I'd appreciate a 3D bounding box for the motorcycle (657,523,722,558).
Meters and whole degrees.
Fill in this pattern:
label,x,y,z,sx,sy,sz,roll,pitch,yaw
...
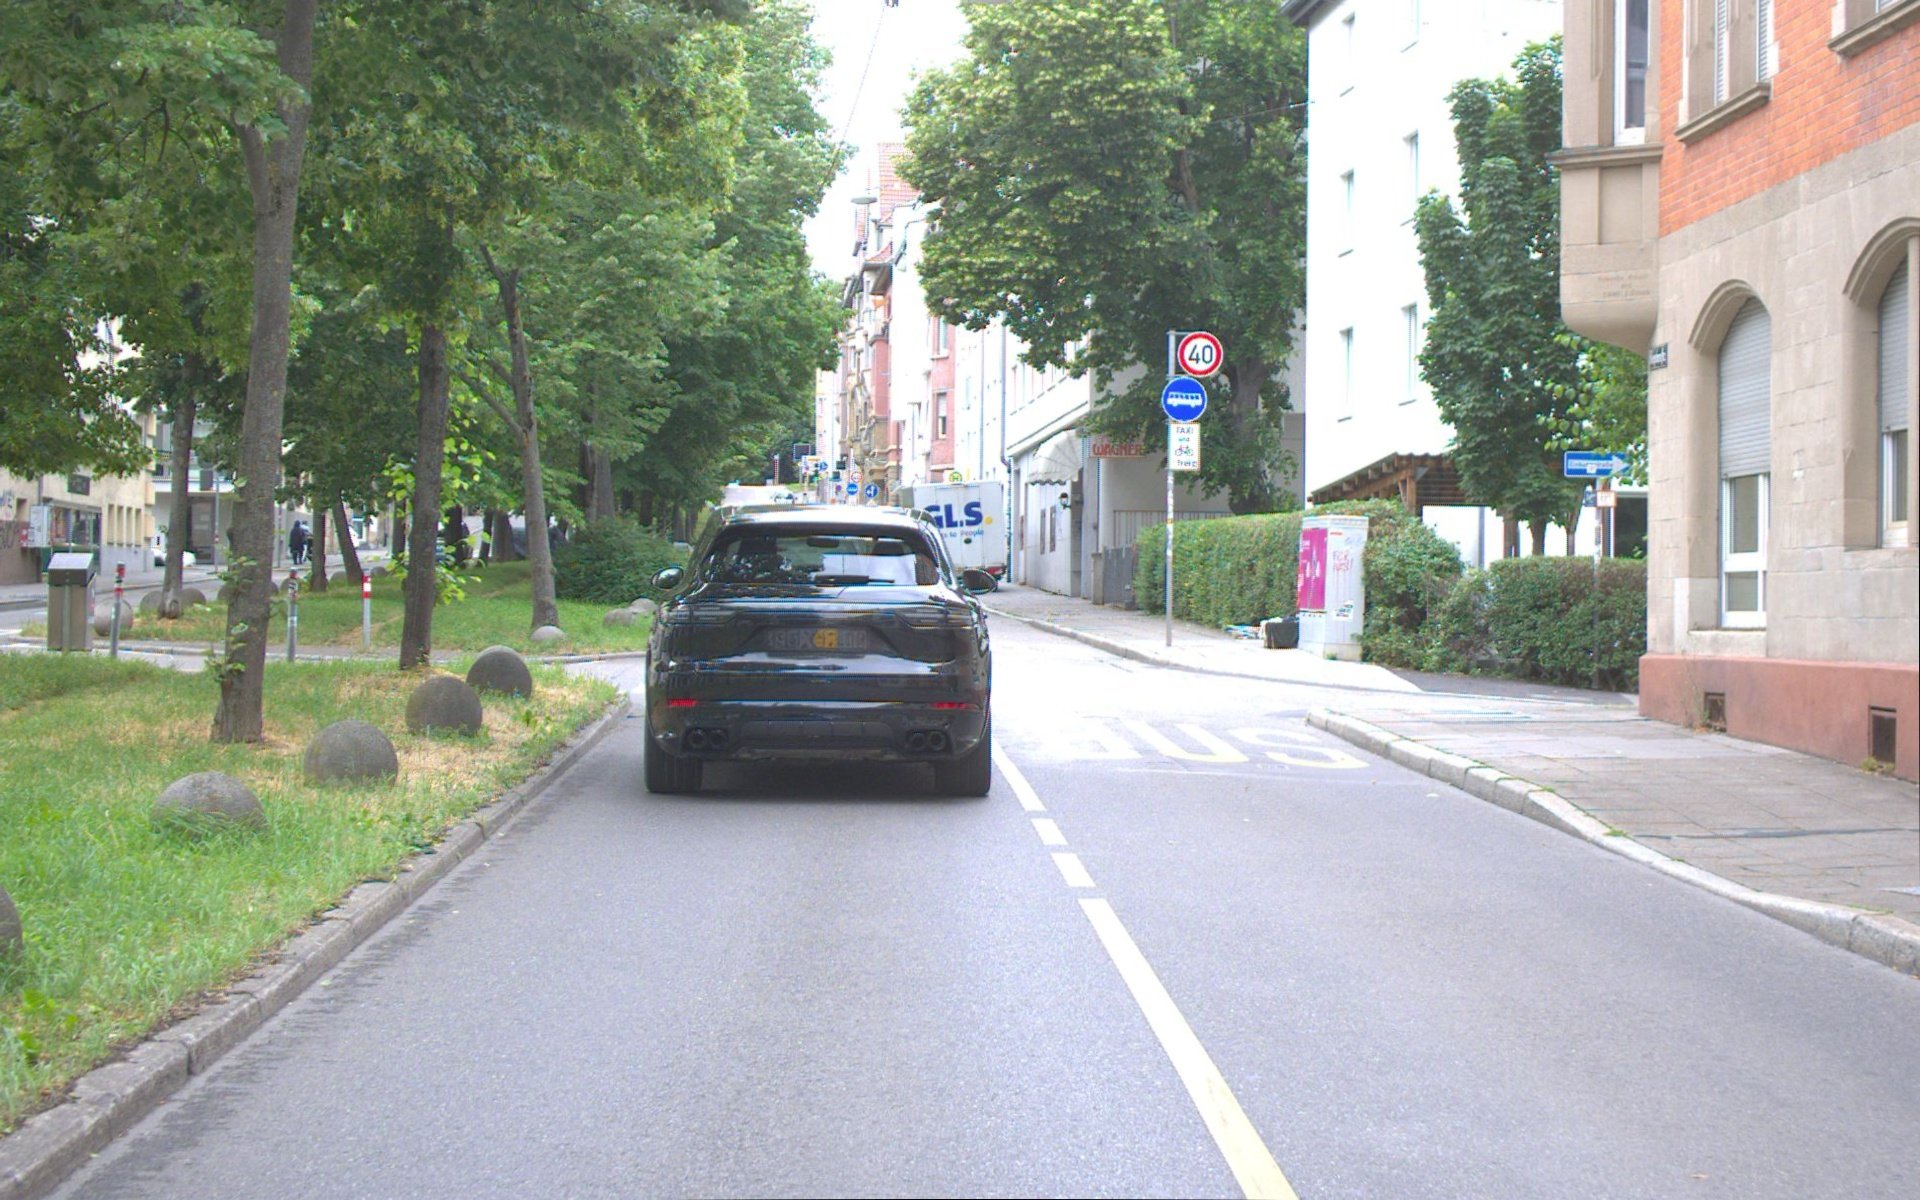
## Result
label,x,y,z,sx,sy,sz,roll,pitch,yaw
motorcycle,-10.038,-2.216,127.541,2.355,1.231,1.034,1,3,-5

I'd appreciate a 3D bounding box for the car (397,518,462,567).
label,x,y,z,sx,sy,sz,roll,pitch,yaw
car,-19.913,-2.172,129.109,1.948,1.623,4.366,-6,1,-5

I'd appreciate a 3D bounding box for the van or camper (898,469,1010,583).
label,x,y,z,sx,sy,sz,roll,pitch,yaw
van or camper,-0.203,-1.875,88.566,2.480,2.793,7.239,1,1,-3

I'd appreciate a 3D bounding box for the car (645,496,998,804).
label,x,y,z,sx,sy,sz,roll,pitch,yaw
car,-0.937,0.245,20.744,1.903,1.660,4.136,1,1,-5
